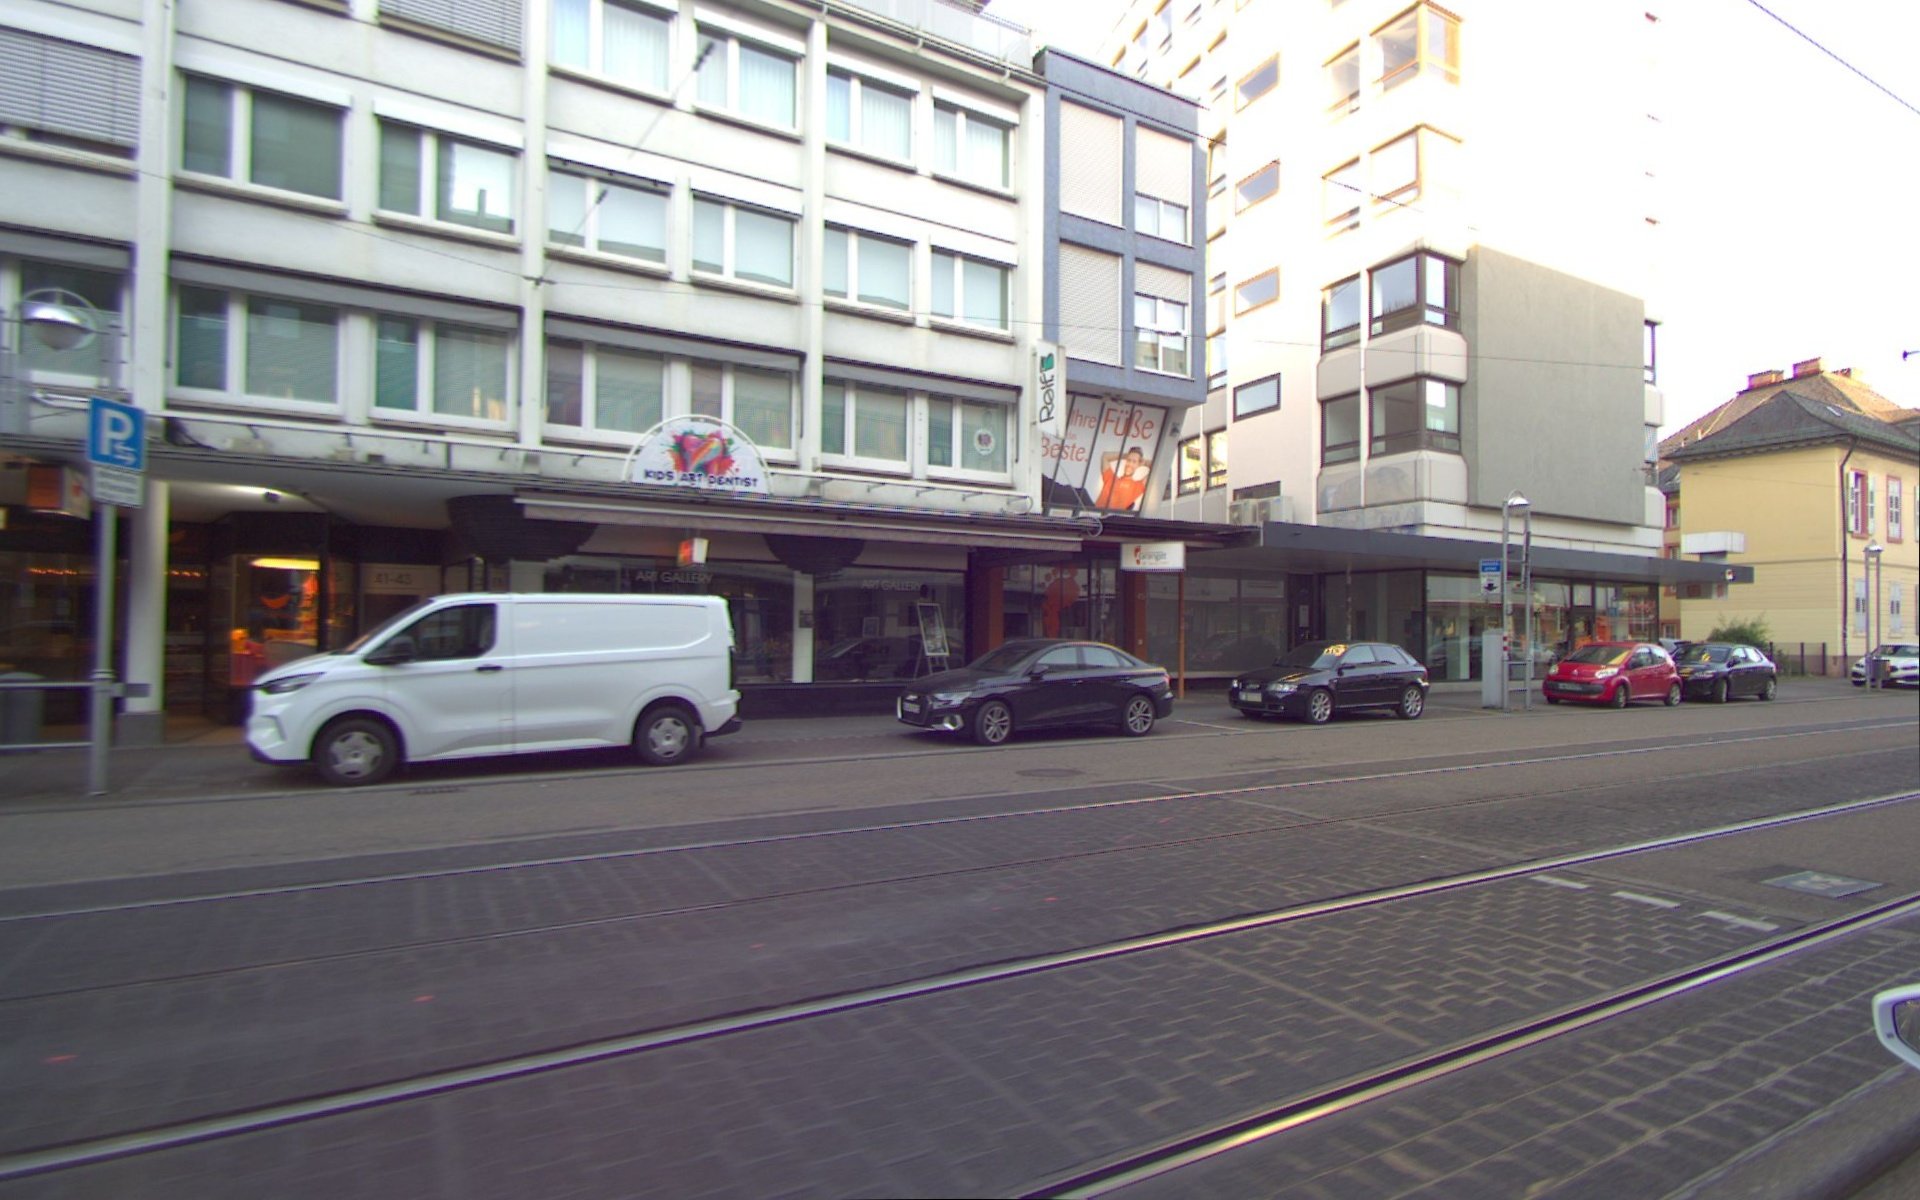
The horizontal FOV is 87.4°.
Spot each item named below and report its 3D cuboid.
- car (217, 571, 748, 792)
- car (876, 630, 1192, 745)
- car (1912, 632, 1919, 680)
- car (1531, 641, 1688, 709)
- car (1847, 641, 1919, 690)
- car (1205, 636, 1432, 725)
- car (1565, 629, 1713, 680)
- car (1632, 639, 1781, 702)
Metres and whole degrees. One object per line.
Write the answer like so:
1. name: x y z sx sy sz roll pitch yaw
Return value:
1. car: -5.187 0.826 11.443 5.043 2.040 1.954 2 0 -32
2. car: 1.178 1.251 15.233 4.518 1.445 1.863 2 0 -31
3. car: 36.157 2.044 36.004 4.709 1.683 1.876 2 0 -33
4. car: 15.088 1.686 23.317 3.550 1.453 1.683 1 -1 -31
5. car: 31.207 2.115 33.127 4.234 1.472 1.712 1 0 -31
6. car: 6.672 1.420 18.630 4.042 1.480 1.782 1 -2 -30
7. car: 24.211 1.907 35.964 1.893 1.573 3.965 2 0 -32
8. car: 19.220 1.763 25.836 3.919 1.444 1.683 1 0 -31
